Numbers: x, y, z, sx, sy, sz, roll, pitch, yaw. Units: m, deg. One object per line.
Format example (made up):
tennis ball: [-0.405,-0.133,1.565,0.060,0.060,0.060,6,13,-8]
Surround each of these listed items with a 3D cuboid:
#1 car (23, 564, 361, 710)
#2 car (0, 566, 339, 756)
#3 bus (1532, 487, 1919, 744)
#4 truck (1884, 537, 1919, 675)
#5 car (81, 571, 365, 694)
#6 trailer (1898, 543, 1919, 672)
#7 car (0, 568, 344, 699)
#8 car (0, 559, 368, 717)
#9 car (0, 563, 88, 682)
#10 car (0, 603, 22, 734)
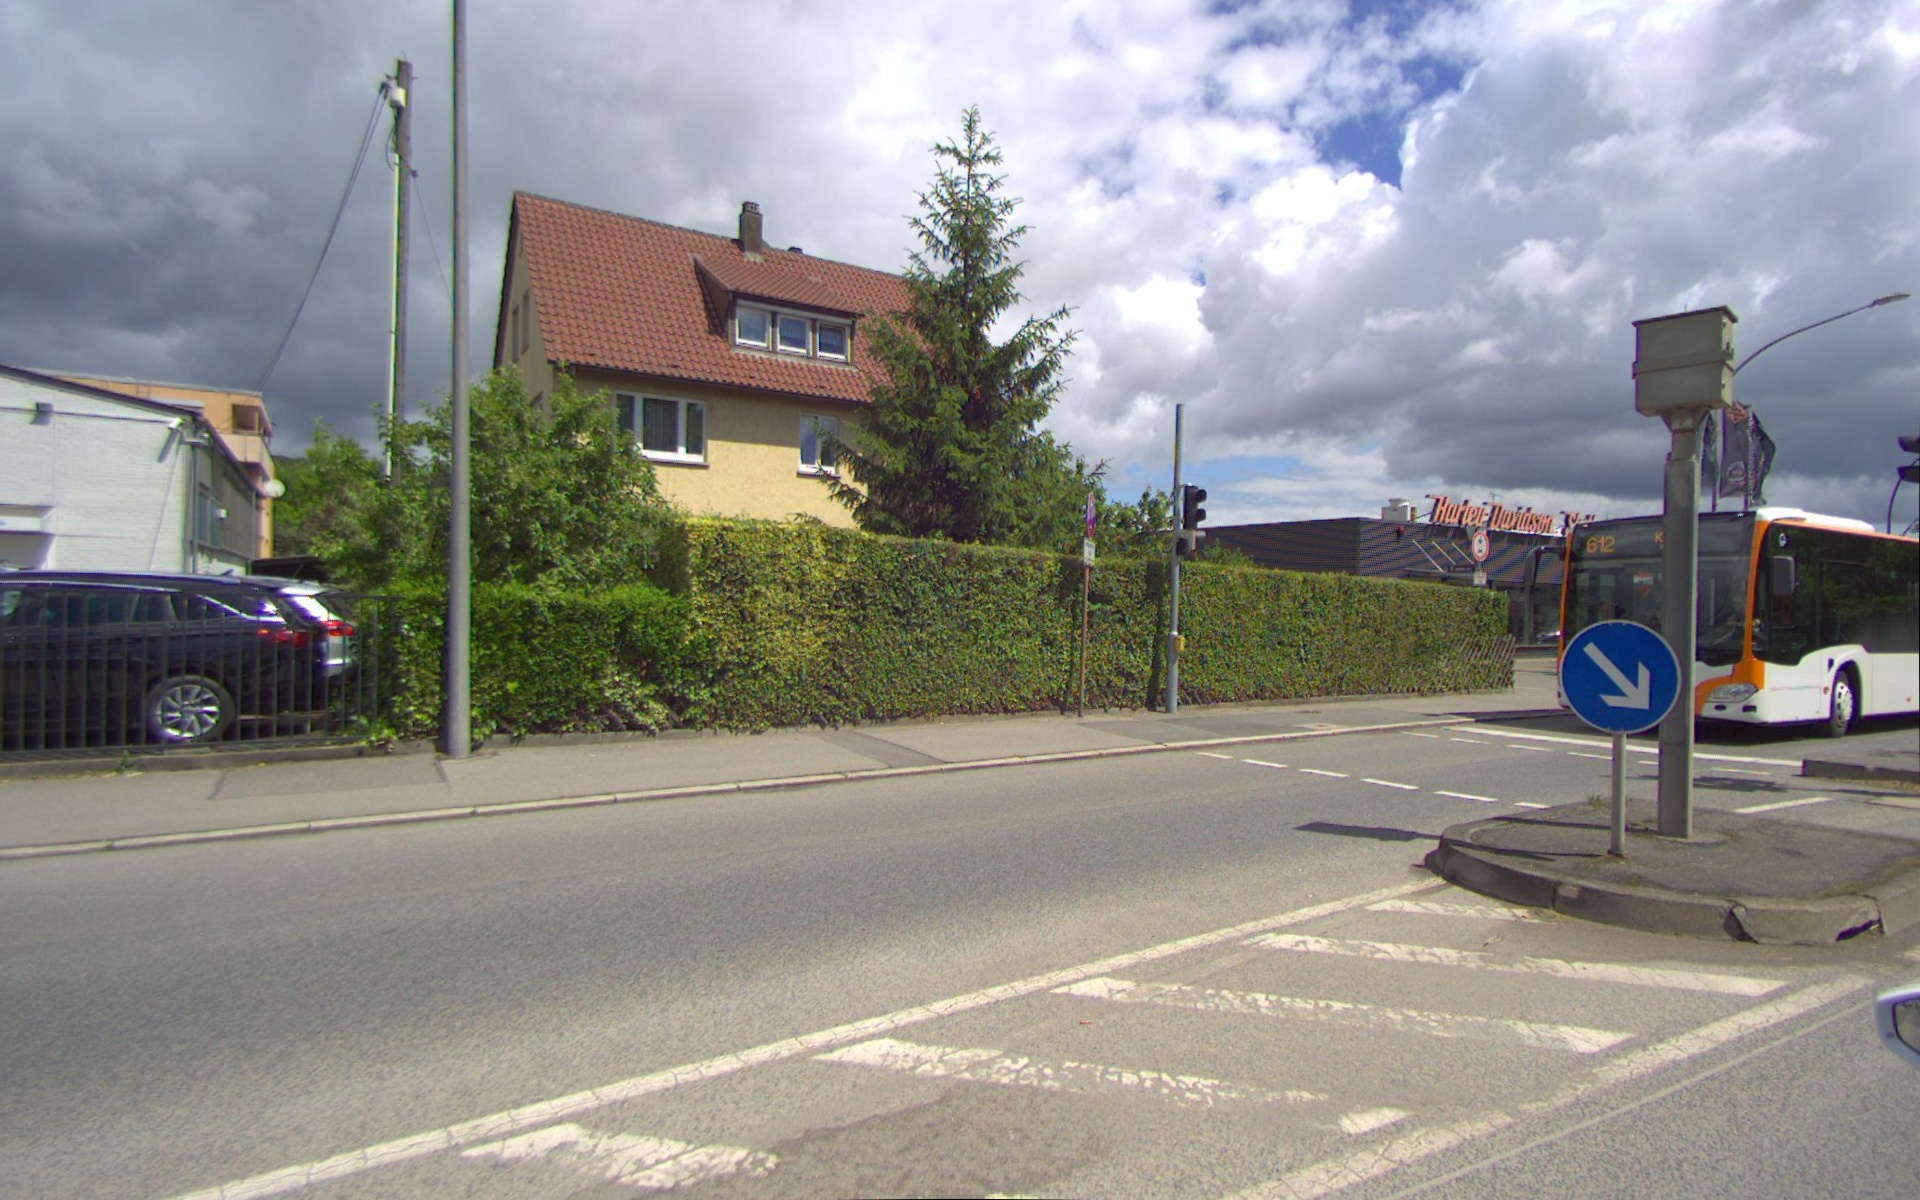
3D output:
car: [-11.833,0.559,15.878,3.953,2.040,1.984,2,0,-30]
car: [-7.862,0.478,8.849,3.997,1.502,1.850,2,0,-31]
bus: [14.095,0.369,16.309,12.123,3.071,2.706,2,-1,-31]
truck: [31.331,0.264,31.361,6.448,4.107,2.775,2,0,-40]
car: [-13.330,0.585,18.521,3.953,2.040,1.984,2,0,-30]
trailer: [36.861,0.455,36.090,15.429,4.107,2.775,2,0,-40]
car: [-10.730,0.433,13.625,3.953,1.569,1.984,2,0,-30]
car: [-9.023,0.395,11.353,3.953,1.561,1.984,2,0,-30]
car: [-17.993,0.344,17.417,3.953,2.040,1.984,2,0,-30]
car: [-16.716,1.038,14.693,3.953,2.040,1.984,2,0,-30]
